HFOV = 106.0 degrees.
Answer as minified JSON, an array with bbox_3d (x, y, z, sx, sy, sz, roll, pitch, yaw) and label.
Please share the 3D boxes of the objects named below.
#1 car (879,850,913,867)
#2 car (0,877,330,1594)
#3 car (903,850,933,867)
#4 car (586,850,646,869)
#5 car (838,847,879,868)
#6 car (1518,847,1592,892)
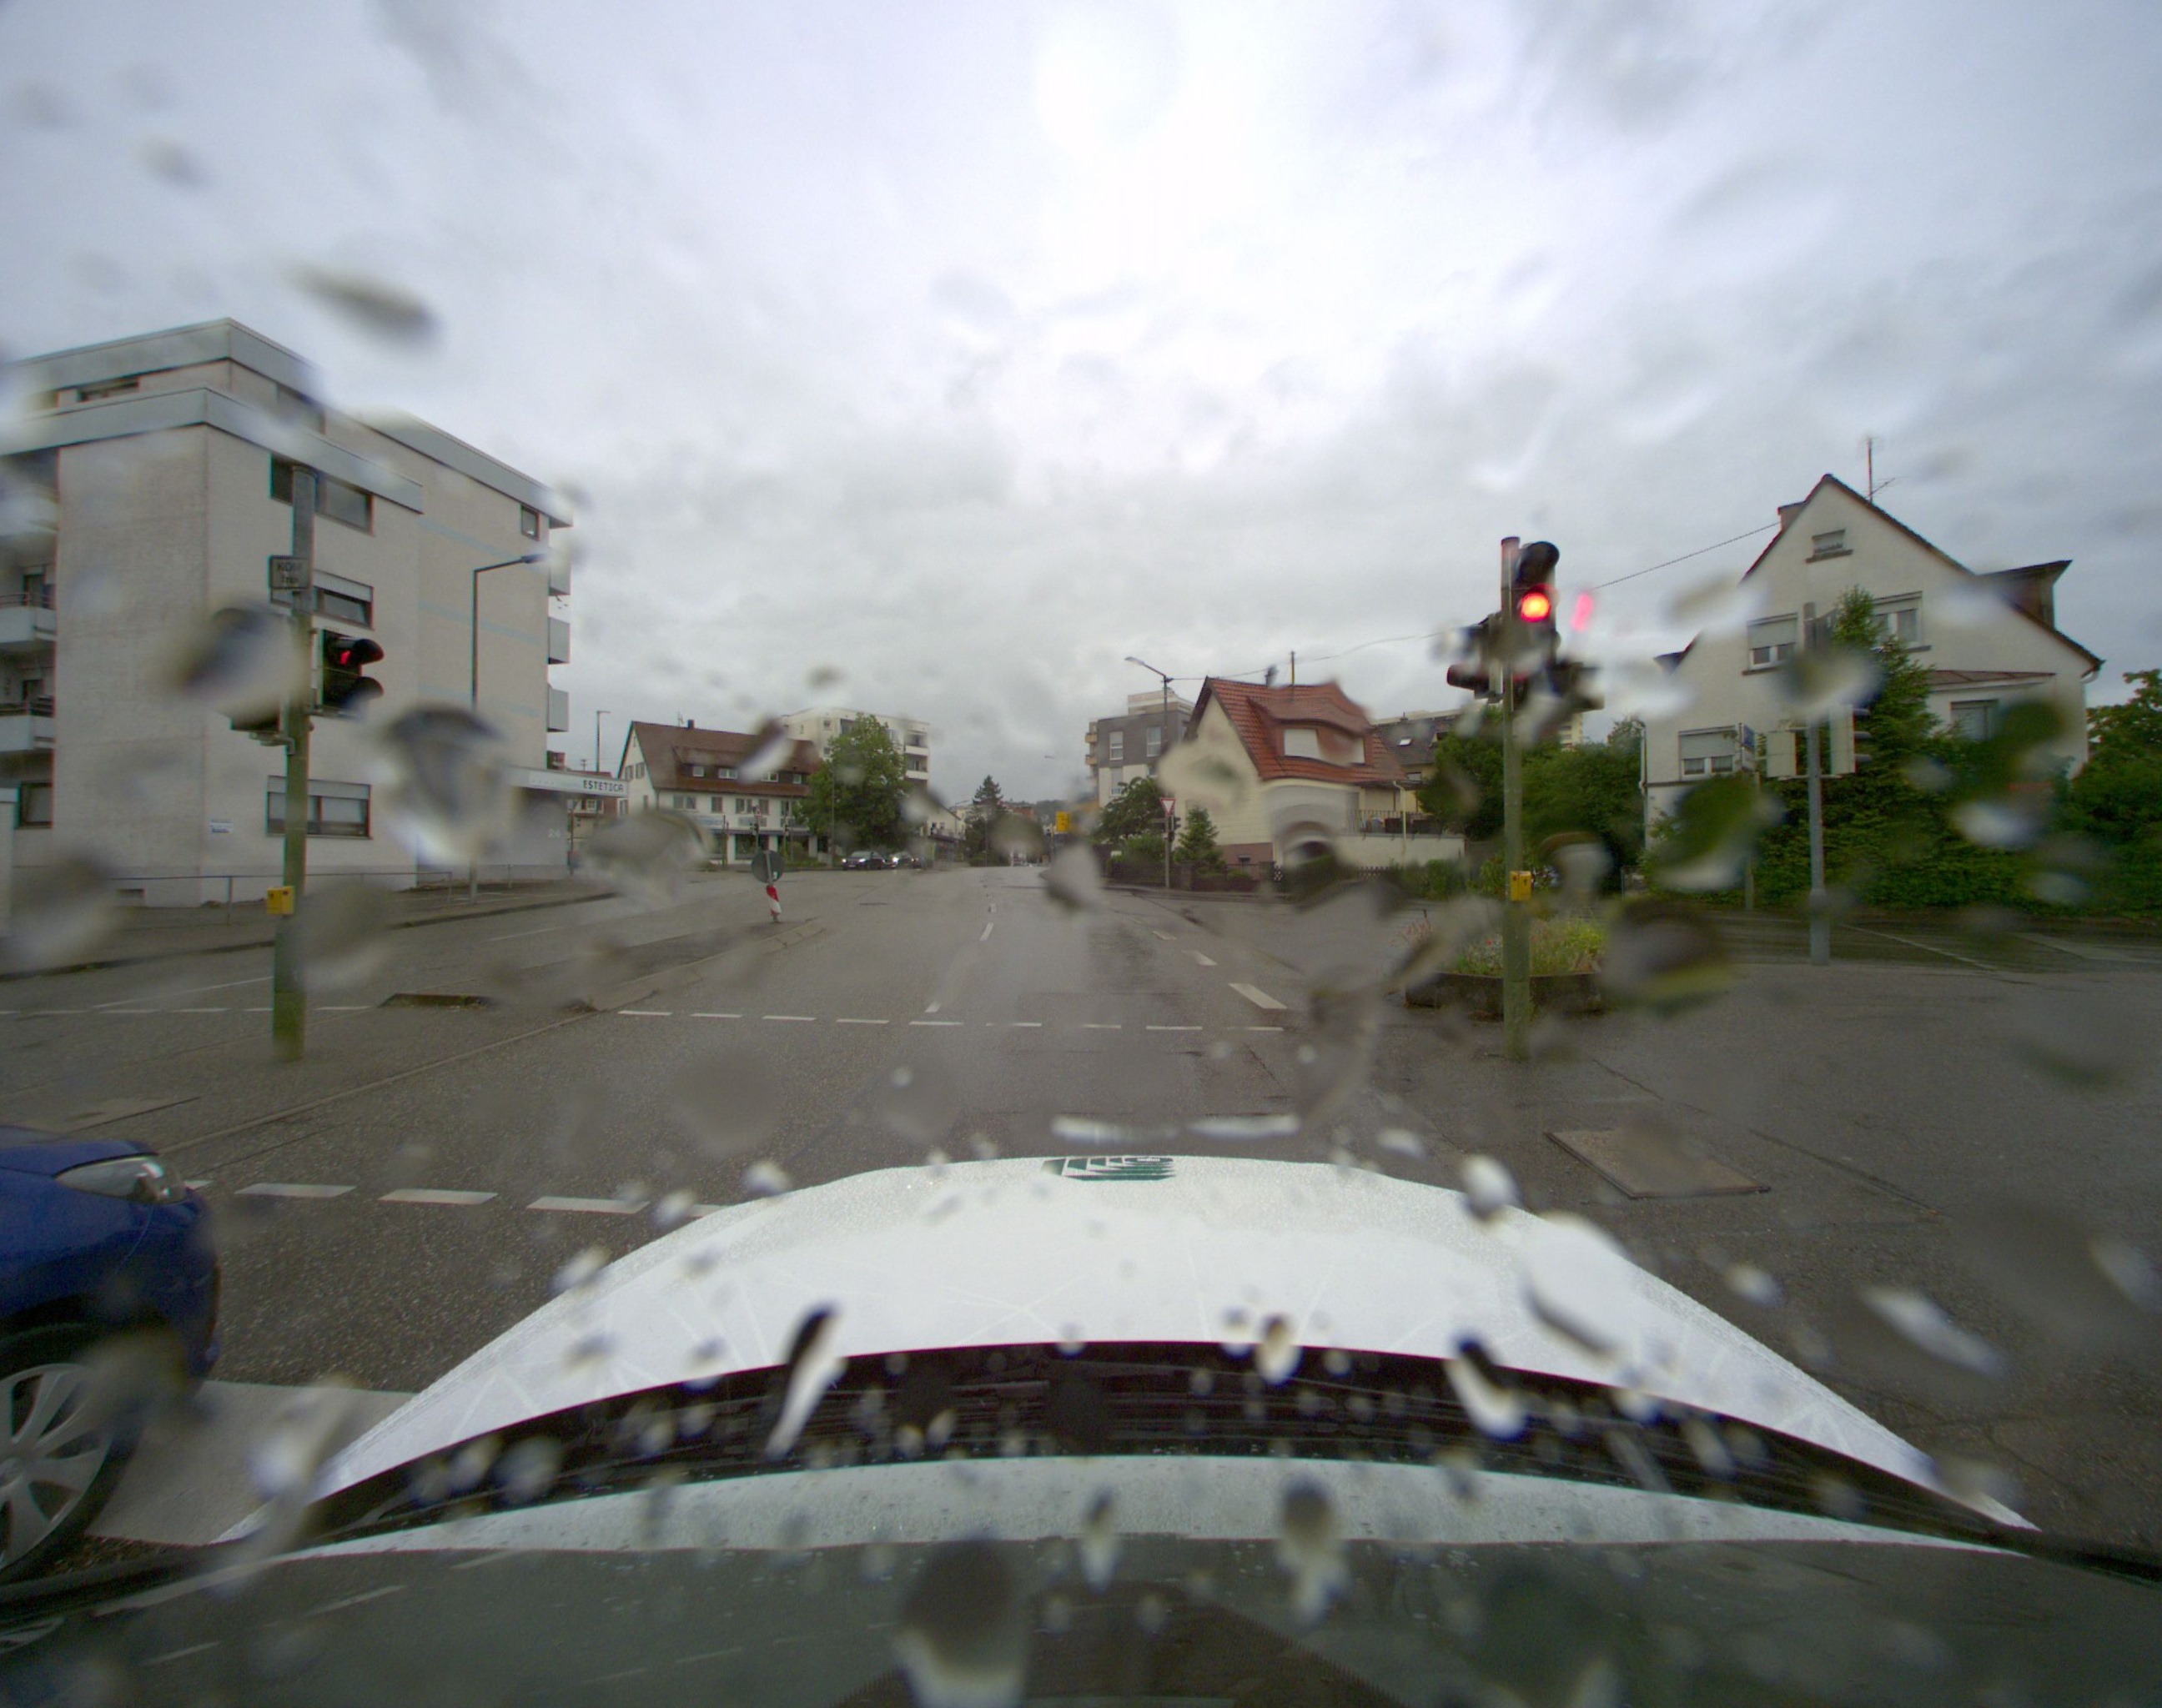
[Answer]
[{"bbox_3d":[-14.978,0.340,66.129,1.708,1.387,4.022,0,0,2],"label":"car"},{"bbox_3d":[-2.989,0.779,0.697,1.572,1.410,3.272,0,0,2],"label":"car"},{"bbox_3d":[-14.368,0.377,71.934,1.772,1.420,3.832,0,0,2],"label":"car"},{"bbox_3d":[-38.314,0.421,67.106,3.988,1.572,1.850,0,0,-42],"label":"car"},{"bbox_3d":[-16.004,0.220,58.749,1.772,1.420,3.832,0,0,2],"label":"car"},{"bbox_3d":[17.097,0.510,29.290,1.723,1.514,4.025,0,0,39],"label":"car"}]
